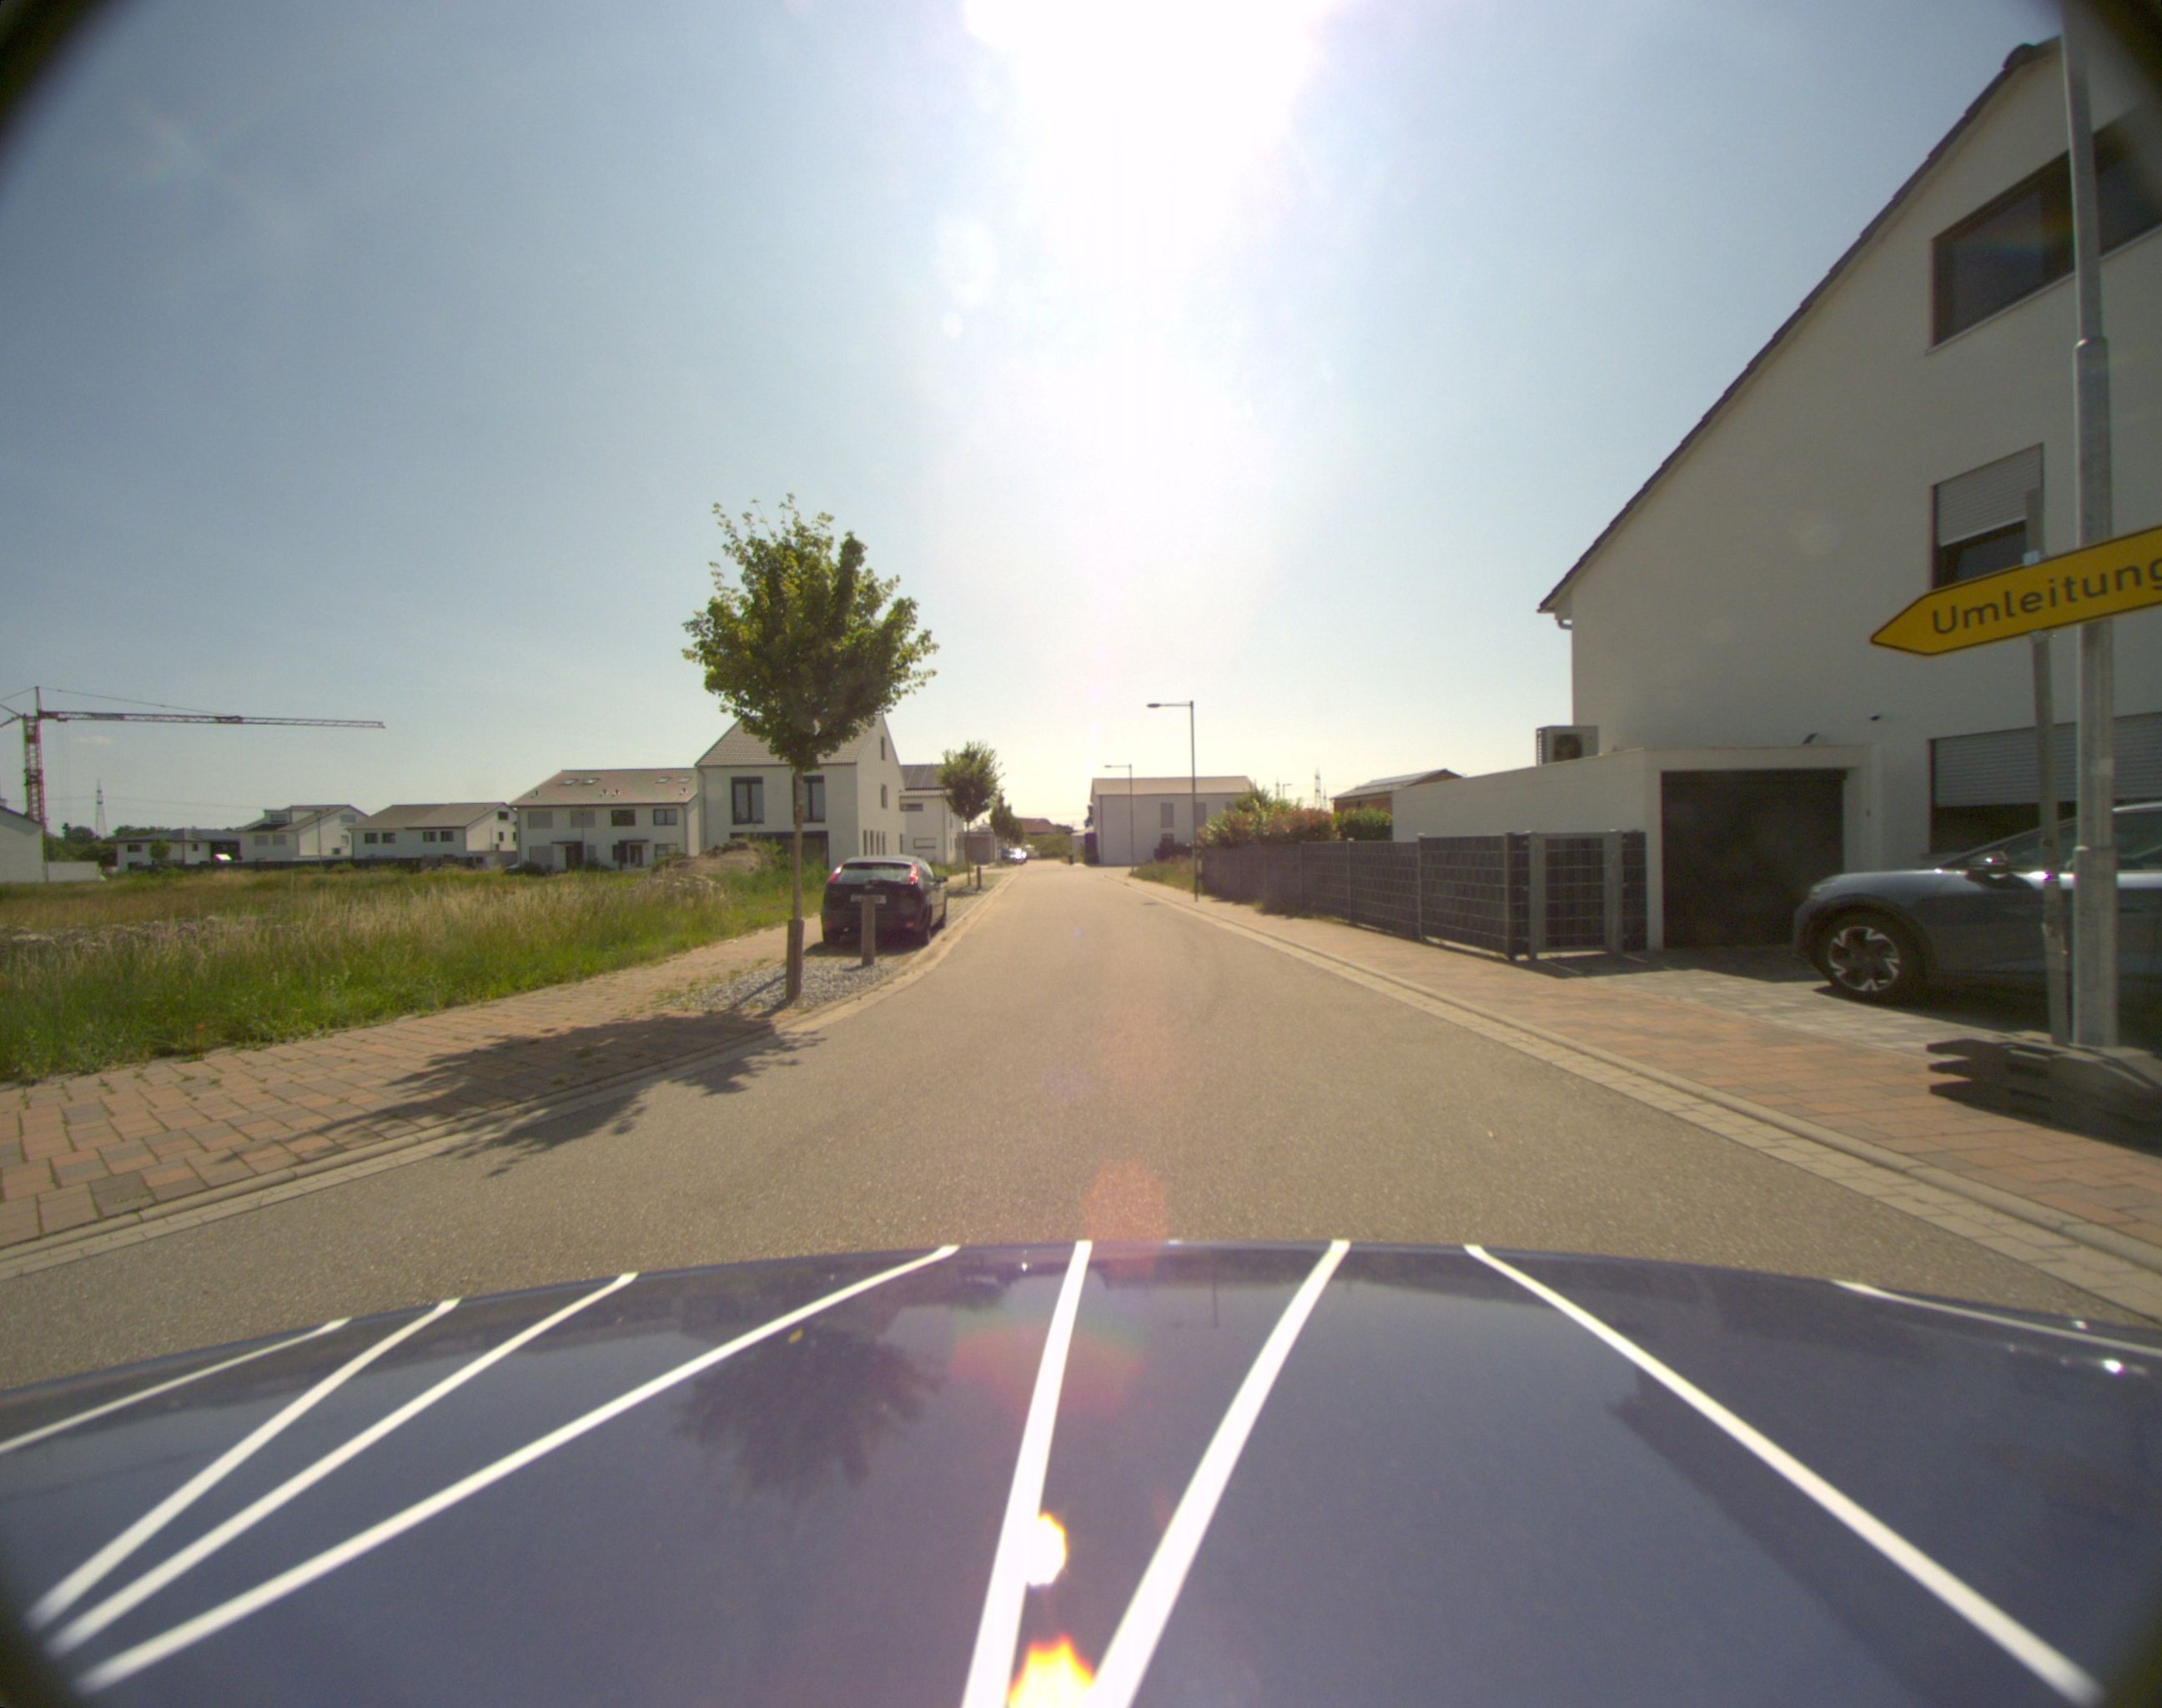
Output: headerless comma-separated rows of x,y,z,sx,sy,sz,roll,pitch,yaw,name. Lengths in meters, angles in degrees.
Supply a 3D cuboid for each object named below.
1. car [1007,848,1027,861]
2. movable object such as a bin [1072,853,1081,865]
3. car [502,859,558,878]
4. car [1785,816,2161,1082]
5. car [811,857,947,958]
-7.107,0.015,84.627,1.925,1.412,4.419,-1,1,-2,car
-0.403,0.425,68.191,0.807,1.092,0.672,-1,1,-1,movable object such as a bin
-48.060,1.236,66.368,1.813,1.565,4.000,-1,1,2,car
7.266,0.542,4.535,1.959,1.549,4.349,-1,1,-3,car
-3.515,0.840,13.960,1.849,1.485,4.191,-2,0,-8,car
